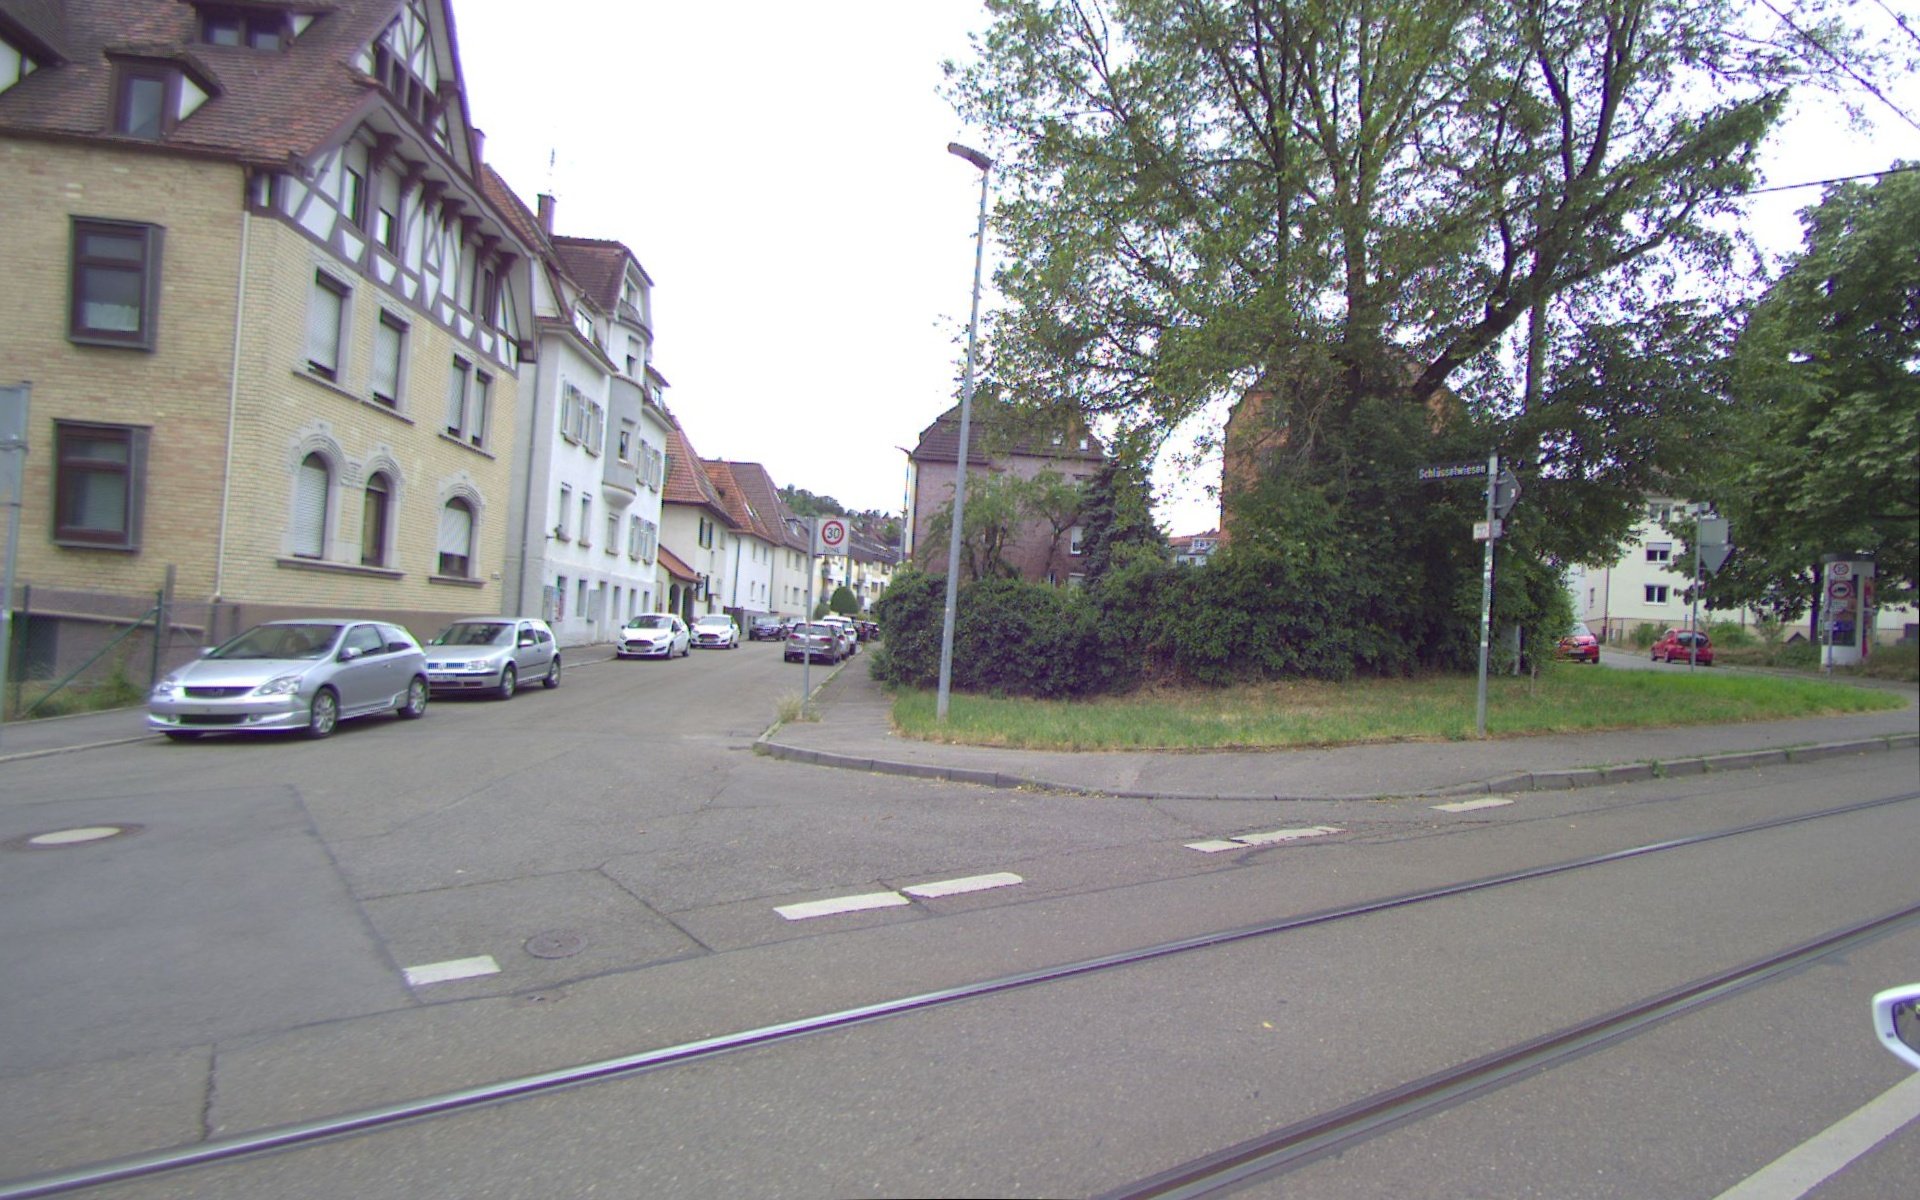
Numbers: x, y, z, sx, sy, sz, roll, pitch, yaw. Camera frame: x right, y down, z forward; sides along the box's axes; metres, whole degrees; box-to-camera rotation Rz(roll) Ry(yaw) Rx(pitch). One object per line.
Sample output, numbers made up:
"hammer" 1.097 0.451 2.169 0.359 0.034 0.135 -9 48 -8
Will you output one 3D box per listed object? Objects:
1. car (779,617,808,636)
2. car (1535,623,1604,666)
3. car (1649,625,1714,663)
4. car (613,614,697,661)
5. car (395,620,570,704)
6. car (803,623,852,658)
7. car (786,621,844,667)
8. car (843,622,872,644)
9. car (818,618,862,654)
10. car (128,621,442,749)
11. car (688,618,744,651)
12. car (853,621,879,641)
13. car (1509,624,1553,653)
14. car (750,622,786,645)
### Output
"car" -11.993 1.917 72.542 1.594 1.326 3.639 1 -1 -2
"car" 23.667 1.691 39.129 1.716 1.497 3.612 2 0 23
"car" 31.101 1.882 43.385 1.622 1.434 3.727 2 1 26
"car" -9.831 1.196 32.641 1.662 1.421 3.857 1 -1 -2
"car" -8.781 1.085 18.857 1.663 1.396 4.046 1 -1 -6
"car" -5.320 1.624 40.714 1.594 1.230 3.626 4 -2 -2
"car" -5.105 1.529 35.799 1.594 1.420 3.626 4 -1 -2
"car" -6.691 2.142 65.755 1.594 1.230 3.626 4 -2 -2
"car" -5.495 1.656 46.323 1.594 1.475 3.626 4 -1 -2
"car" -8.437 0.990 13.051 1.663 1.396 4.010 1 -1 -6
"car" -10.279 1.432 42.596 1.594 1.326 3.739 1 -1 -2
"car" -6.776 2.240 72.898 1.594 1.230 3.626 4 -2 -2
"car" 28.028 1.862 49.383 1.429 1.252 3.779 2 0 23
"car" -11.468 1.980 60.284 1.594 1.326 3.639 1 -1 -2
